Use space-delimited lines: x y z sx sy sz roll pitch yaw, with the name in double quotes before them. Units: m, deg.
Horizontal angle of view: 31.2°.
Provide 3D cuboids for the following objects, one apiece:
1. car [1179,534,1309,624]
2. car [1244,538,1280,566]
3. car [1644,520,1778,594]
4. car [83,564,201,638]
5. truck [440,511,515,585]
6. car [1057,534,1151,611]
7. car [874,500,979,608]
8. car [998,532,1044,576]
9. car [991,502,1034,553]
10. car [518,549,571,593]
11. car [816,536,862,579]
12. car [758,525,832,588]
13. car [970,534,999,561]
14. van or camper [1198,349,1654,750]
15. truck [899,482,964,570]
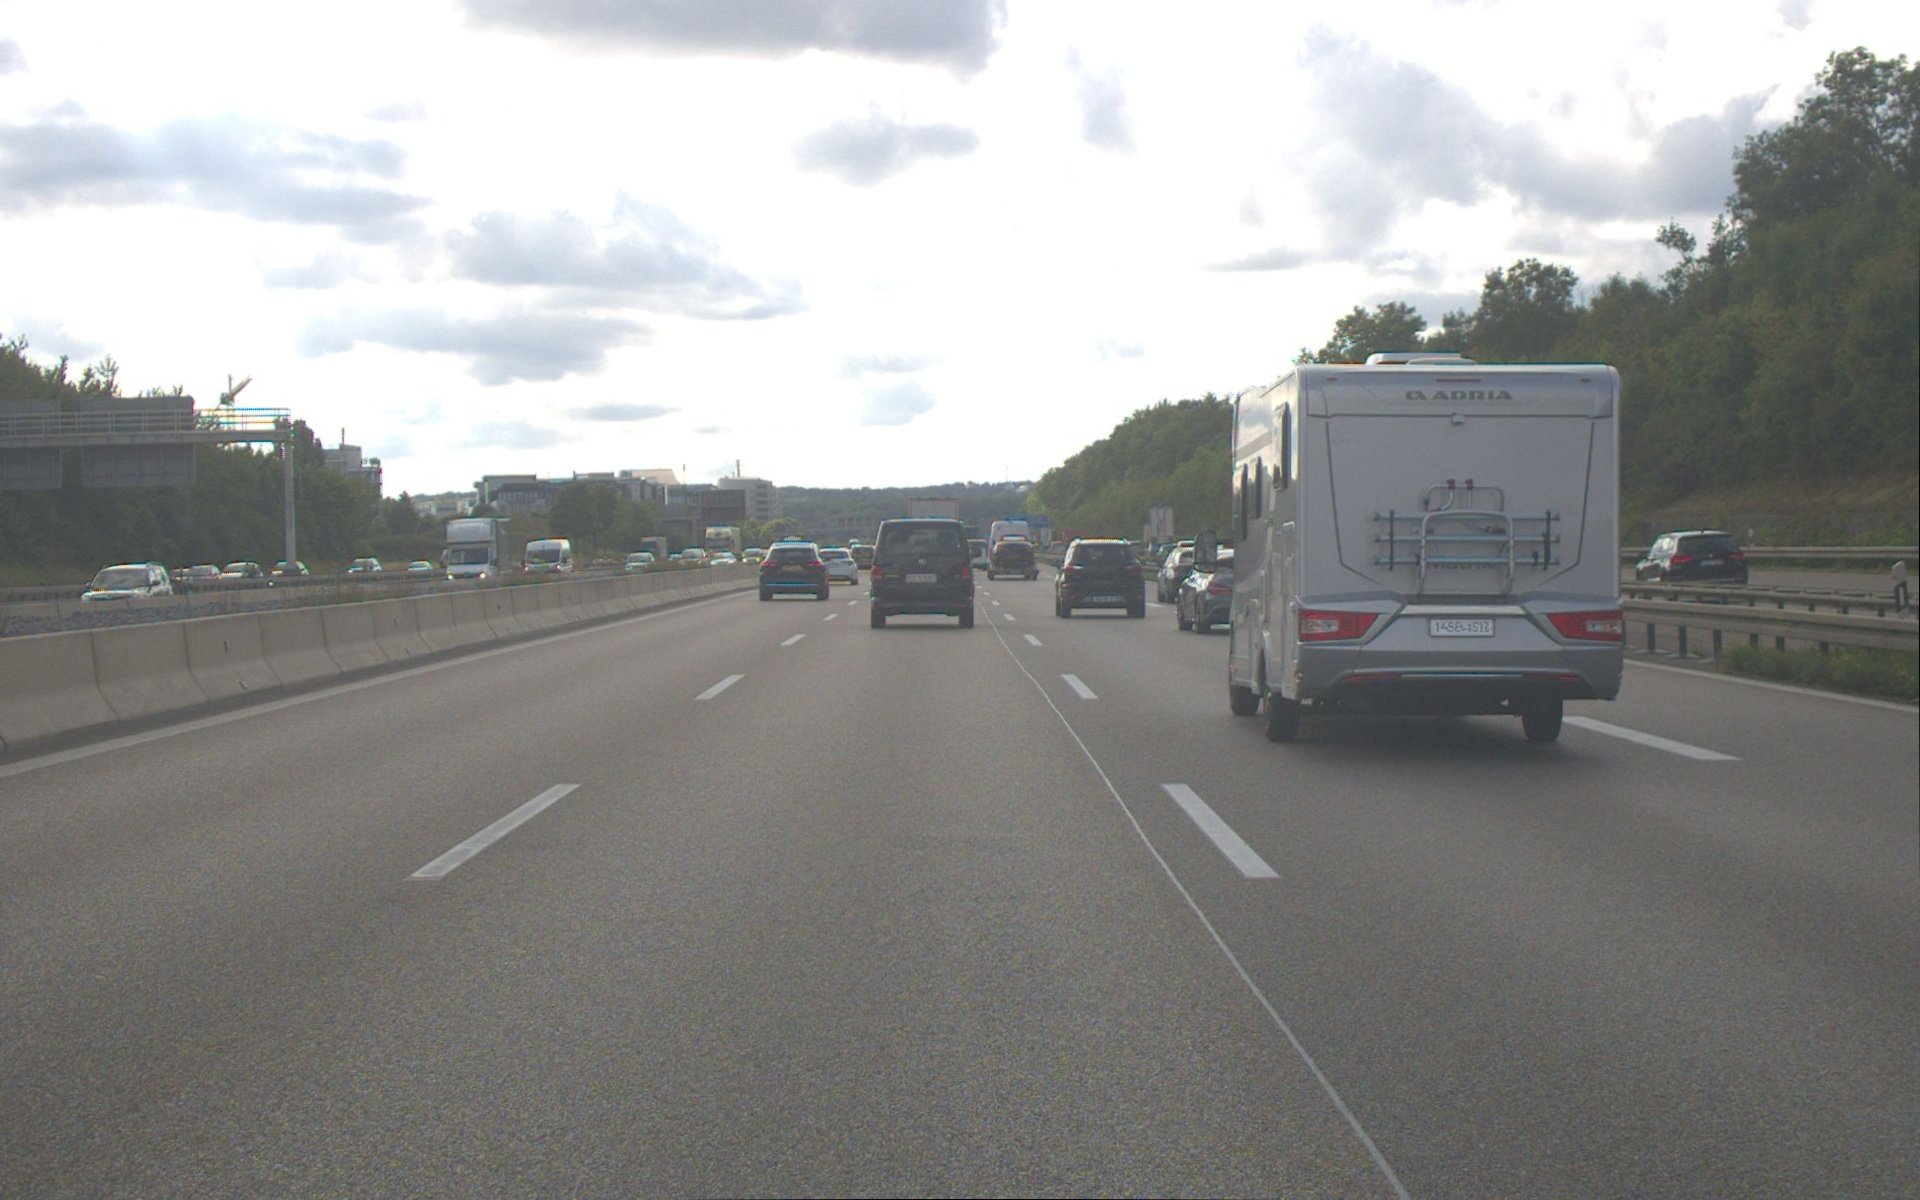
"car" 4.824 -0.391 58.919 1.720 1.474 4.392 0 1 -2
"car" 18.095 -2.879 206.163 1.752 1.689 4.190 0 1 -1
"car" 16.319 -0.965 74.892 1.843 1.479 4.526 -3 1 0
"car" -21.293 -0.003 89.687 1.834 1.780 5.504 -1 1 -1
"truck" -21.894 -2.370 156.238 2.353 3.252 7.826 -1 1 -1
"car" 2.988 -0.596 72.164 1.697 1.559 4.114 -1 1 -1
"car" -0.616 -0.849 62.932 1.855 1.904 4.260 0 1 -1
"car" 2.696 -2.057 152.548 1.913 1.912 4.030 0 1 -1
"car" 2.404 -3.348 159.296 1.873 2.349 4.282 0 1 -1
"car" -22.360 -1.576 185.090 2.164 2.263 6.462 -1 1 -1
"car" -4.650 -1.642 132.570 1.697 1.605 4.114 -1 1 -1
"car" -4.549 -1.208 95.141 1.873 1.692 4.072 -1 1 -1
"car" 1.525 -3.276 214.232 1.752 1.689 4.190 0 1 -1
"van or camper" 3.429 -0.410 27.159 2.468 2.712 7.662 0 1 -1
"truck" -1.472 -3.811 177.953 3.263 4.360 11.027 0 1 0
